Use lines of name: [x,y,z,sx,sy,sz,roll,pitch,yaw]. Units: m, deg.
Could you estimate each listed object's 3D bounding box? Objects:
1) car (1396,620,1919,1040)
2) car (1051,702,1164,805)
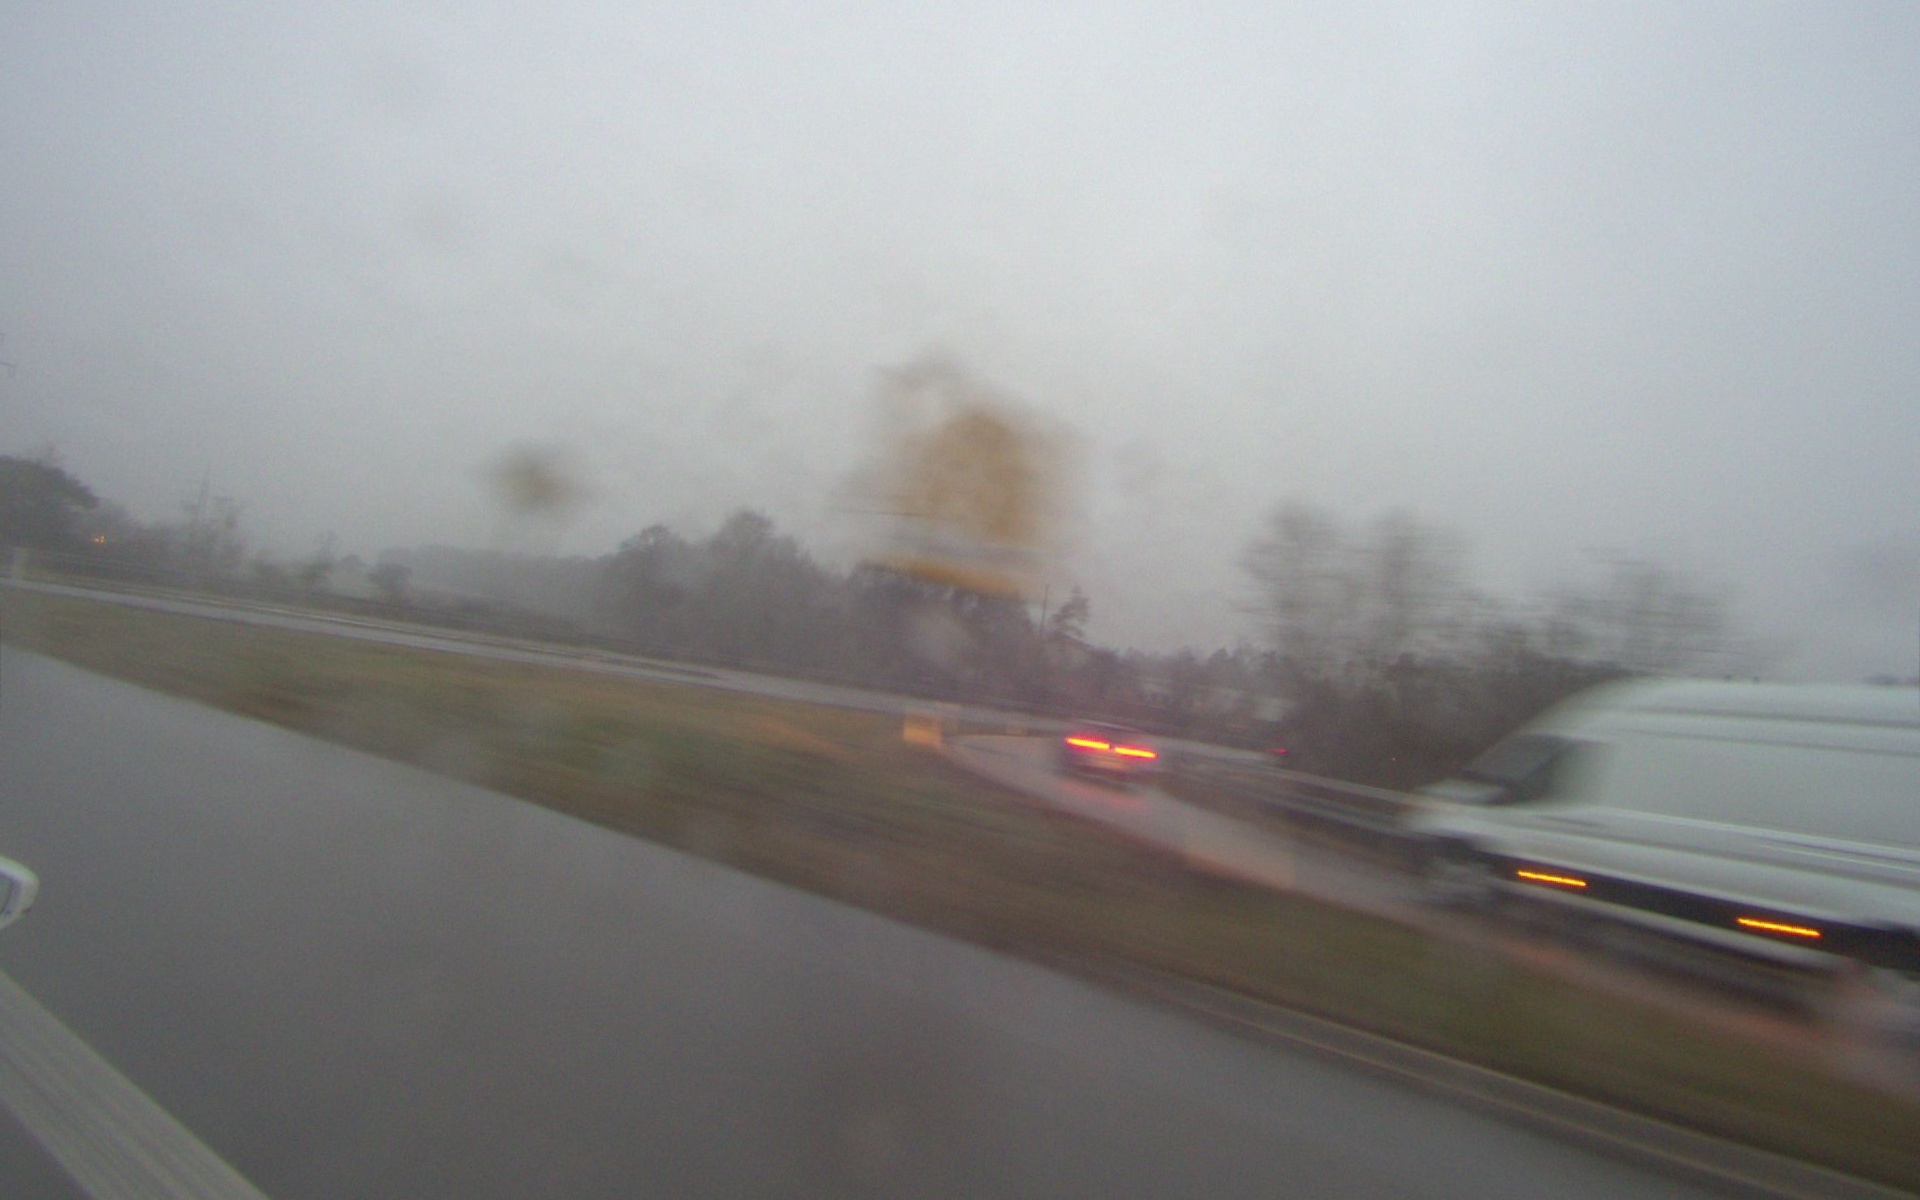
car: [7.558,1.922,9.127,2.265,2.996,6.354,11,-5,-26]
car: [3.620,3.787,25.632,1.963,1.954,4.917,9,-4,2]
